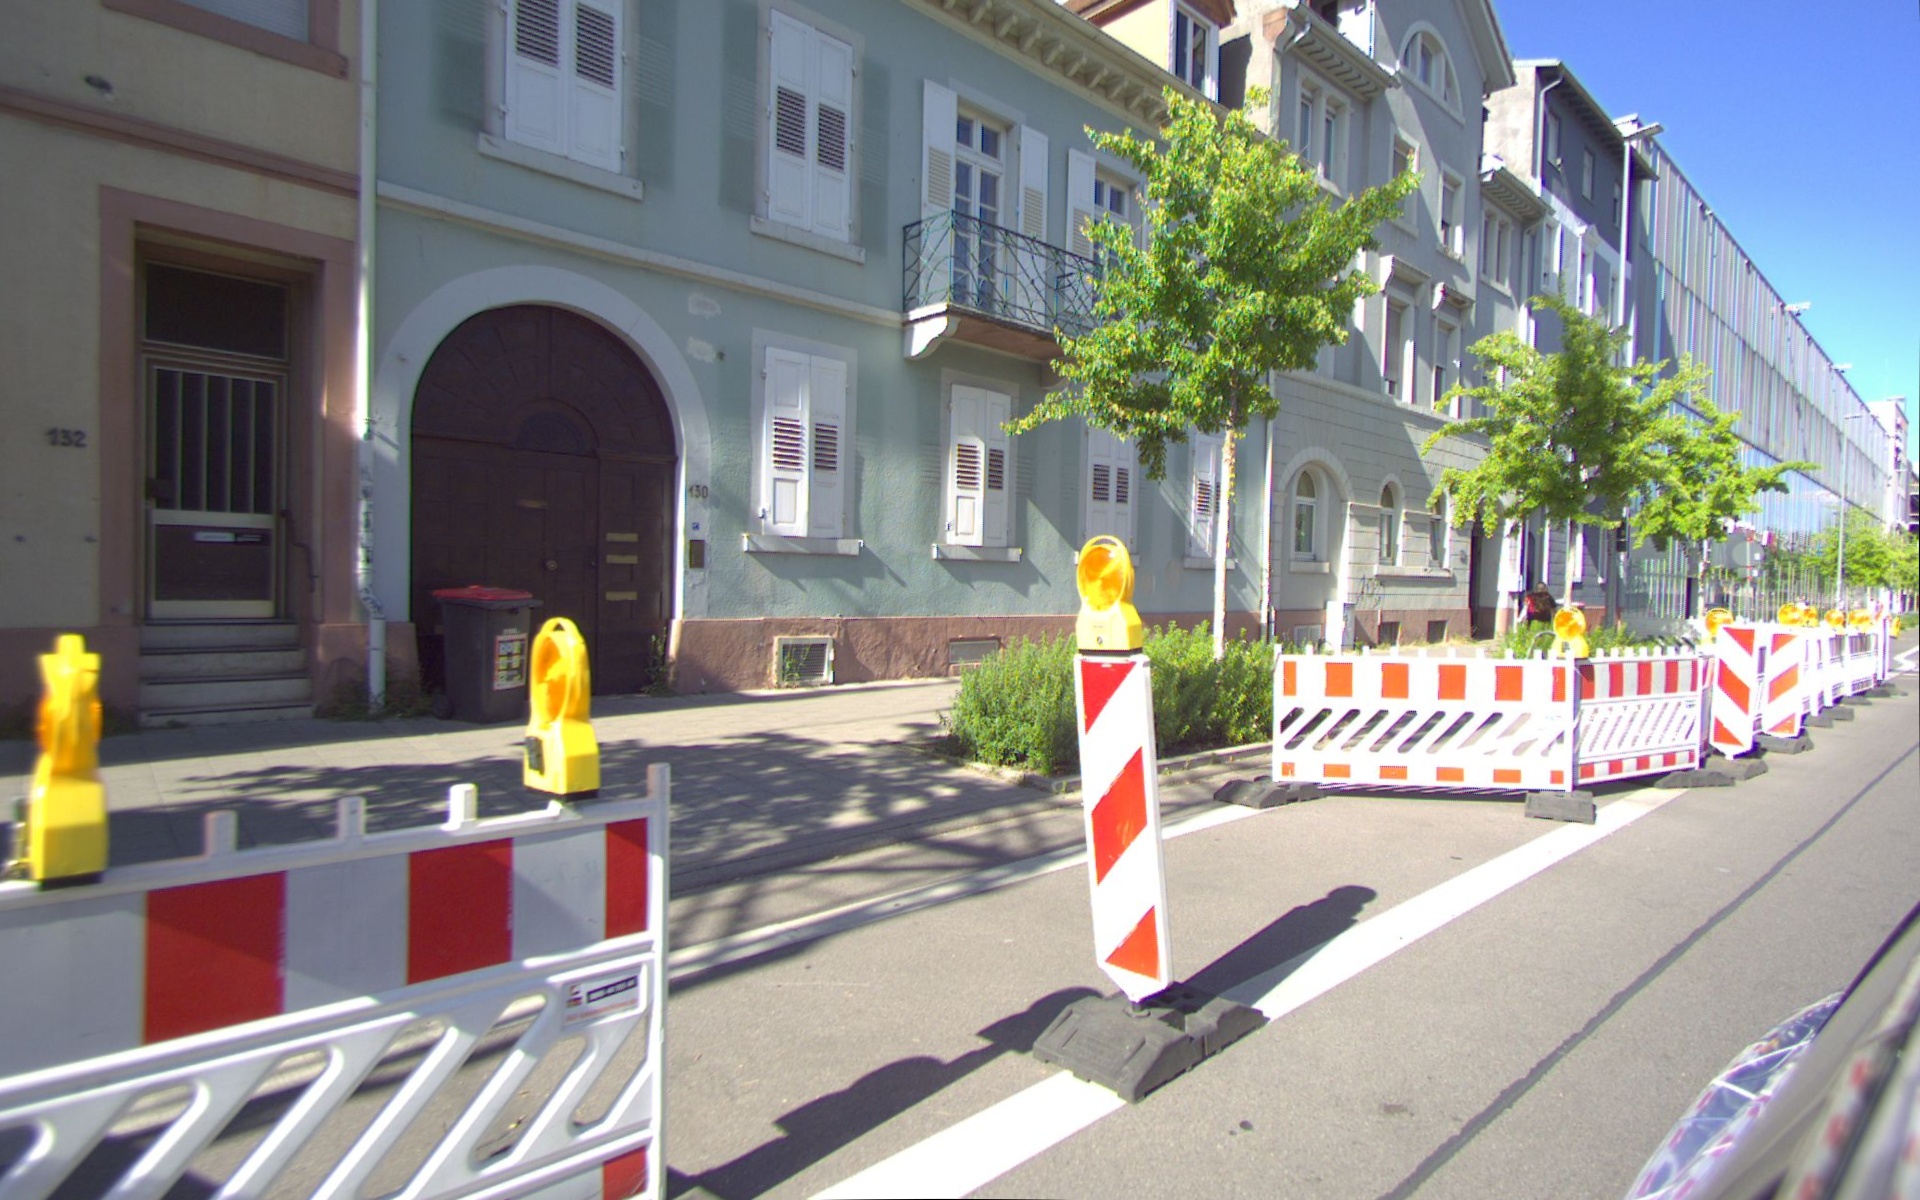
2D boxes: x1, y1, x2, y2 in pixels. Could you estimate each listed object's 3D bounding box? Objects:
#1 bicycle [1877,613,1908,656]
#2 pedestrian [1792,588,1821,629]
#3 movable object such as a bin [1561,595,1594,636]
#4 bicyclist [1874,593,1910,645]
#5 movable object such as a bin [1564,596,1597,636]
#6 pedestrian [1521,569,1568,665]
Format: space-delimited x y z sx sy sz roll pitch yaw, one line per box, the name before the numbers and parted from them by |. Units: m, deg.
bicycle | 27.527 0.991 29.895 0.608 1.165 1.957 2 1 42
pedestrian | 41.642 0.402 49.799 0.880 1.946 0.877 -2 6 -43
movable object such as a bin | 17.297 0.436 28.331 0.691 1.122 0.589 1 1 -42
bicyclist | 27.523 0.557 29.884 0.753 1.480 0.578 1 1 42
movable object such as a bin | 17.777 0.452 28.999 0.691 1.096 0.604 1 1 -42
pedestrian | 12.334 0.341 21.355 0.790 1.953 0.761 1 0 32
